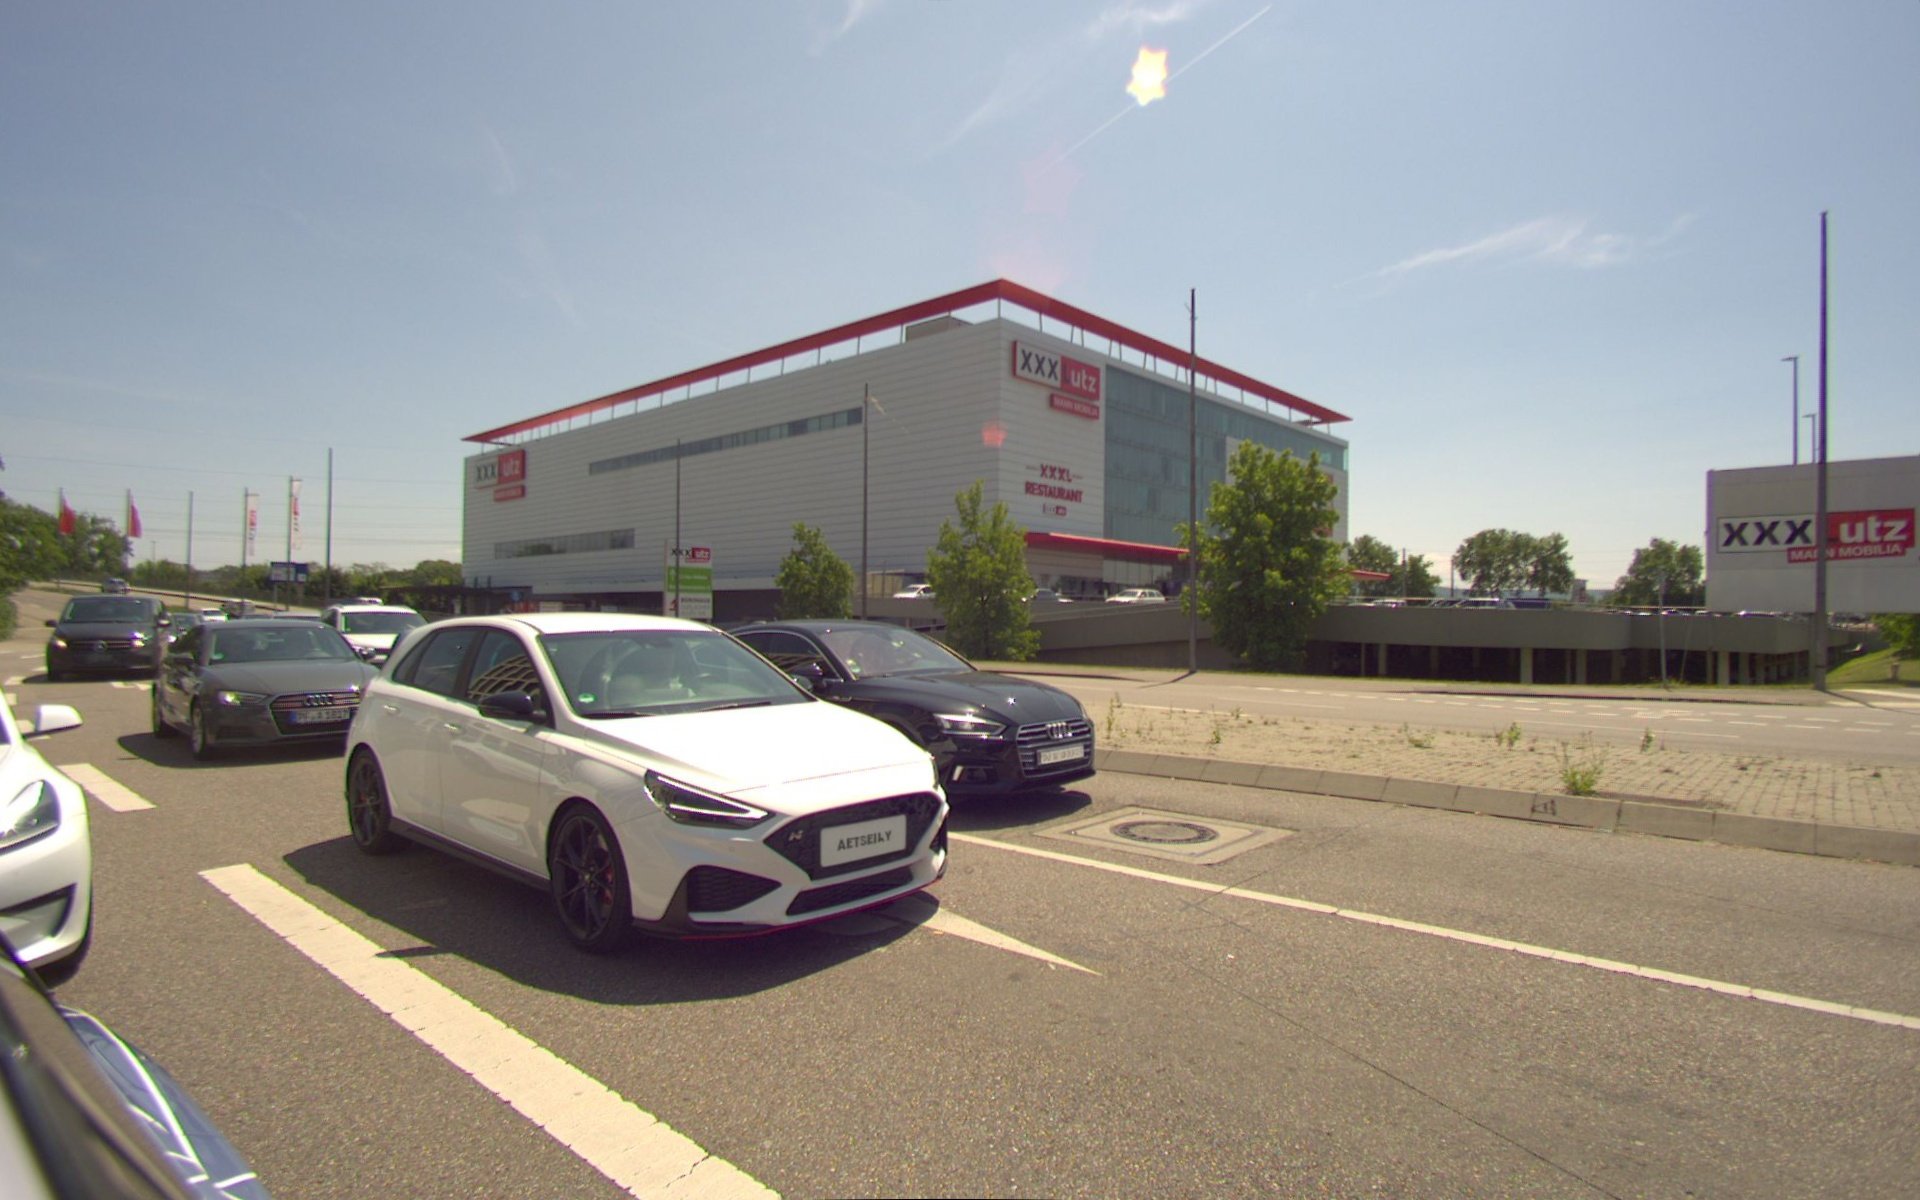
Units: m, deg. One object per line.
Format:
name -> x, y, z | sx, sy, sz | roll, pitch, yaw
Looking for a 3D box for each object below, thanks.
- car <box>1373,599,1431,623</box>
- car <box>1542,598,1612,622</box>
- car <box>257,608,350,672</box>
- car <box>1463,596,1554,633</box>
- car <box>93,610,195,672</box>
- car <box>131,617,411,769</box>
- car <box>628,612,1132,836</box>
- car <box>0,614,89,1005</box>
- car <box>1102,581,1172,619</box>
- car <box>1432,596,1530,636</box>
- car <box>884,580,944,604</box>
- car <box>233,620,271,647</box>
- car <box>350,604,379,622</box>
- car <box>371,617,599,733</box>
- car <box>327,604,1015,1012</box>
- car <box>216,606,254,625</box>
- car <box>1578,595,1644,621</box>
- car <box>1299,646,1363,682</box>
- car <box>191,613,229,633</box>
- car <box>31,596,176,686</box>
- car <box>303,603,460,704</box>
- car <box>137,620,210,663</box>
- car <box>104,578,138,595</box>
car -> 36.046, 0.934, 82.577 | 4.000, 1.915, 1.972 | -1, -2, 43
car -> 45.022, 0.737, 73.860 | 4.134, 1.754, 1.759 | 0, -2, 42
car -> -16.446, 0.967, 25.263 | 1.741, 1.433, 3.908 | -1, -1, -36
car -> 31.010, 0.830, 57.267 | 4.323, 2.029, 1.975 | 0, -2, 38
car -> -23.460, 1.147, 29.238 | 1.784, 1.652, 4.011 | 1, -2, -32
car -> -7.814, 0.892, 11.328 | 4.090, 1.393, 1.745 | -1, -1, 43
car -> -0.903, 0.852, 8.582 | 4.466, 1.415, 1.654 | -2, -1, 42
car -> -5.596, 0.805, 4.679 | 4.282, 1.447, 1.800 | -1, 0, 41
car -> 10.103, 0.044, 57.662 | 4.407, 2.029, 1.680 | 2, -2, -44
car -> 27.274, 0.850, 53.041 | 4.323, 2.029, 1.974 | 0, -2, 38
car -> -3.126, -0.537, 69.185 | 1.718, 1.519, 3.941 | -1, -2, 44
car -> -42.571, 1.972, 60.917 | 1.698, 1.564, 4.011 | 1, -2, -33
car -> -79.620, 1.719, 135.300 | 4.815, 2.300, 2.162 | -1, -2, 44
car -> -7.076, 0.987, 14.822 | 1.744, 1.413, 4.435 | 0, -1, -43
car -> -1.838, 0.767, 5.632 | 4.068, 1.447, 1.769 | -1, -1, 41
car -> -66.540, 1.418, 92.855 | 4.038, 1.736, 1.844 | -1, -2, 39
car -> 53.323, 0.673, 82.909 | 4.328, 2.029, 1.972 | 0, -2, 42
car -> 19.040, 3.245, 51.902 | 1.997, 1.719, 3.949 | -1, -2, 38
car -> -57.493, 1.745, 77.581 | 4.001, 1.483, 1.702 | -1, -2, 44
car -> -19.399, 0.882, 23.139 | 1.865, 1.835, 4.850 | 1, -1, -33
car -> -10.891, 0.910, 18.904 | 1.743, 1.653, 4.498 | 0, 0, -40
car -> -28.210, 1.463, 36.385 | 1.582, 1.451, 3.744 | 1, -2, -30
car -> -97.136, -1.539, 117.139 | 4.031, 1.736, 1.847 | -1, -3, 33
